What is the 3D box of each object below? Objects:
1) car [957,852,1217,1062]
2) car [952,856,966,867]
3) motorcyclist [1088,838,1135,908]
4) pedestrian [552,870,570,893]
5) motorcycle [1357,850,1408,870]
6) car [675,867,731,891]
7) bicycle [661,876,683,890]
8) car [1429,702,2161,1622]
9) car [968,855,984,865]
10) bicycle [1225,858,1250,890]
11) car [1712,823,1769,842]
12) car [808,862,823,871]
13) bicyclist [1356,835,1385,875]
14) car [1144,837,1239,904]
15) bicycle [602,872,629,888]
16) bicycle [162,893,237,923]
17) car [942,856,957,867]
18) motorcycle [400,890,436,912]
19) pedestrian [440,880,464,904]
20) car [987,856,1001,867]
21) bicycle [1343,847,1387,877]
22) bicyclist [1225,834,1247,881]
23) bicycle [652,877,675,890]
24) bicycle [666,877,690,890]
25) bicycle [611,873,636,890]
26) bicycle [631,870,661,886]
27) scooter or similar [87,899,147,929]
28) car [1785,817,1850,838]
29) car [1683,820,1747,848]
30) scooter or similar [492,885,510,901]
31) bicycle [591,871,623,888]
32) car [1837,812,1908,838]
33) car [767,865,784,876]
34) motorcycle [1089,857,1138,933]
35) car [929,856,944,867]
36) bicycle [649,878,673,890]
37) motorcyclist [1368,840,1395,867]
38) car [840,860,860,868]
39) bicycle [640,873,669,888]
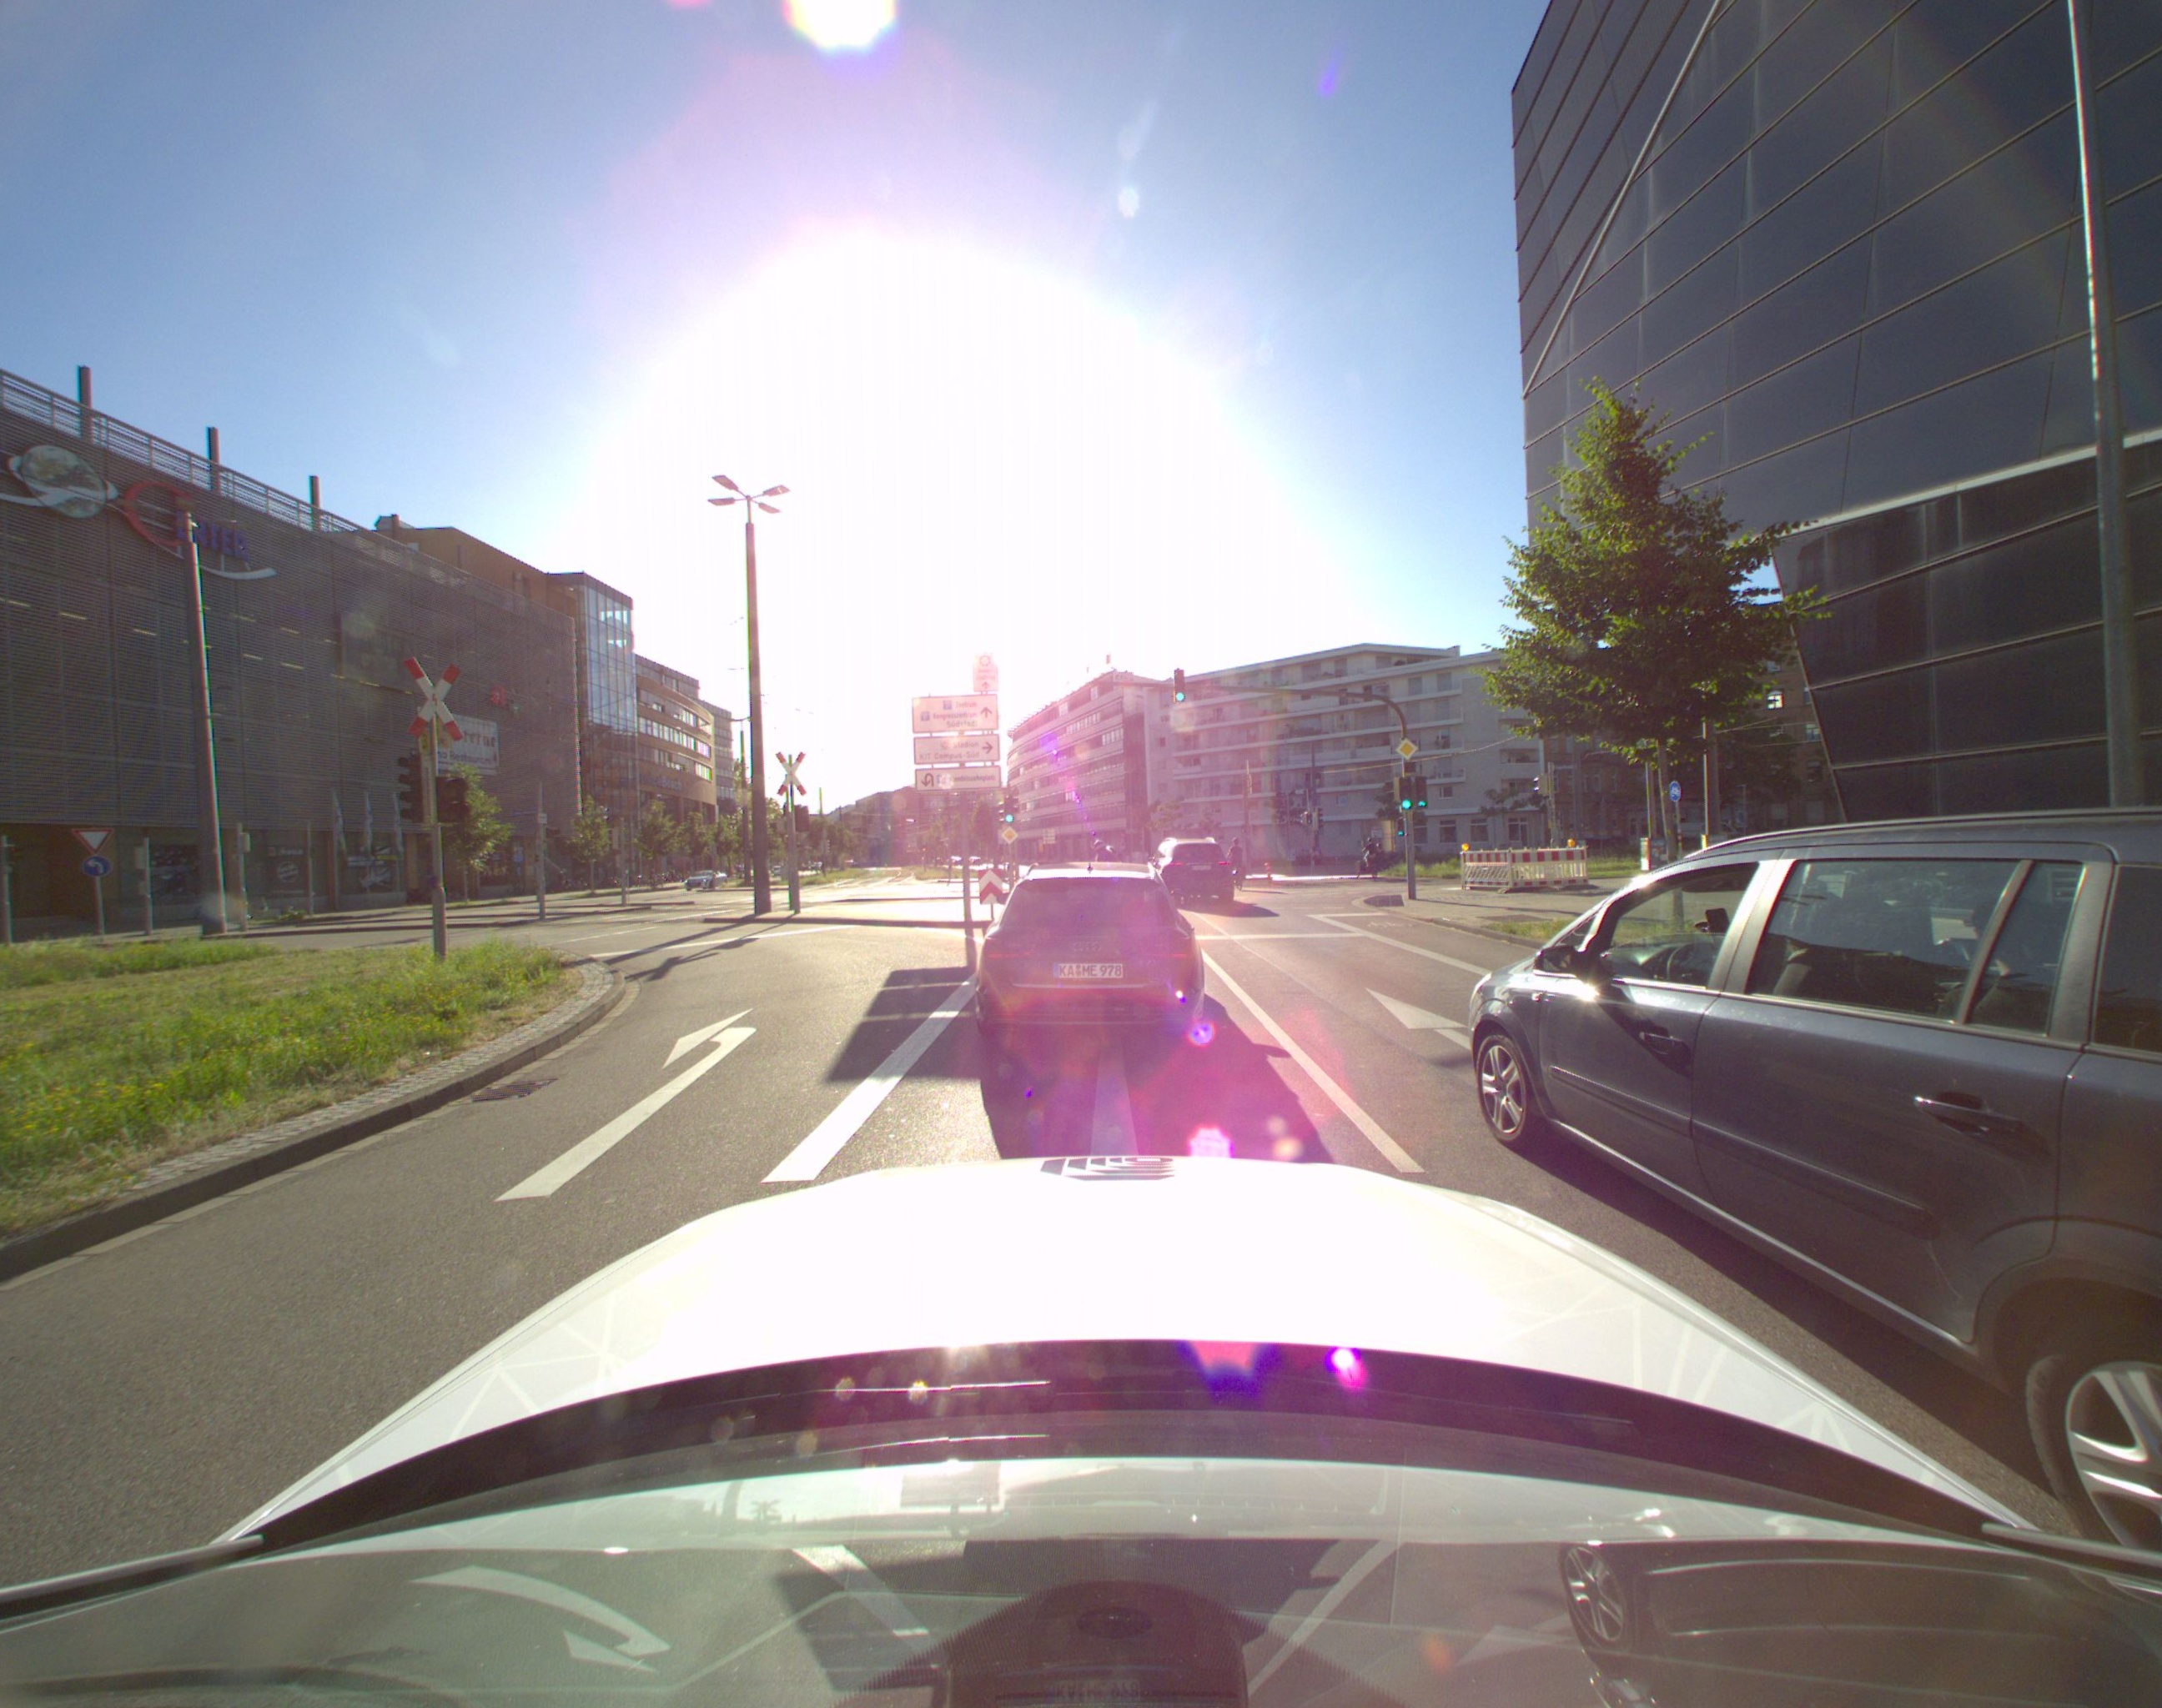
[{"bbox_3d":[0.090,0.730,7.803,1.835,1.454,4.001,0,0,1],"label":"car"},{"bbox_3d":[-20.968,1.311,139.459,1.996,1.596,3.981,-3,-1,-14],"label":"car"},{"bbox_3d":[0.597,0.376,16.100,0.860,1.326,0.681,-2,0,-1],"label":"motorcyclist"},{"bbox_3d":[-42.458,2.254,66.496,0.823,1.824,0.905,-3,-1,3],"label":"pedestrian"},{"bbox_3d":[17.106,0.339,46.246,2.452,1.000,1.168,-2,0,-9],"label":"motorcycle"},{"bbox_3d":[-27.914,1.844,60.297,1.987,1.545,4.528,-2,0,-1],"label":"car"},{"bbox_3d":[-47.531,3.360,94.630,2.125,1.433,0.761,-3,-1,10],"label":"bicycle"},{"bbox_3d":[2.915,0.569,2.830,1.739,1.696,4.263,0,0,2],"label":"car"},{"bbox_3d":[-17.605,1.044,136.842,1.999,1.596,3.976,-3,-1,-17],"label":"car"},{"bbox_3d":[5.686,0.707,29.633,0.651,1.043,1.932,-2,0,5],"label":"bicycle"},{"bbox_3d":[54.104,-1.732,66.900,1.981,1.354,4.012,-3,-1,11],"label":"car"},{"bbox_3d":[-50.592,2.338,155.297,1.993,1.640,4.398,-2,0,-9],"label":"car"},{"bbox_3d":[12.916,0.050,36.299,0.767,1.706,0.925,-2,0,-16],"label":"bicyclist"},{"bbox_3d":[3.044,0.417,23.343,1.997,1.715,4.369,0,0,-2],"label":"car"},{"bbox_3d":[-43.772,2.452,76.655,2.070,1.433,0.863,-3,-1,10],"label":"bicycle"},{"bbox_3d":[-41.908,2.549,38.762,0.796,1.220,2.418,-2,0,5],"label":"bicycle"},{"bbox_3d":[-23.494,1.311,145.197,1.998,1.706,3.977,-3,-1,-17],"label":"car"},{"bbox_3d":[-41.854,2.960,51.424,0.673,1.238,1.894,-3,-1,1],"label":"motorcycle"},{"bbox_3d":[-44.341,2.663,57.375,0.984,1.566,0.829,-3,-1,1],"label":"pedestrian"},{"bbox_3d":[-15.976,1.379,148.740,1.996,1.838,3.981,-3,-1,-14],"label":"car"},{"bbox_3d":[12.788,0.360,36.766,0.767,1.262,2.070,-2,0,-16],"label":"bicycle"},{"bbox_3d":[5.667,0.124,29.749,0.651,1.642,0.973,-2,0,5],"label":"bicyclist"},{"bbox_3d":[-47.478,3.350,92.589,2.231,1.433,0.720,-3,-1,10],"label":"bicycle"},{"bbox_3d":[-47.377,3.443,95.730,2.405,1.433,0.791,-3,-1,10],"label":"bicycle"},{"bbox_3d":[-43.689,2.621,77.761,1.965,1.433,0.809,-3,-1,10],"label":"bicycle"},{"bbox_3d":[-43.564,2.416,81.547,2.546,1.433,0.907,-3,-1,10],"label":"bicycle"},{"bbox_3d":[-43.788,2.722,37.008,0.790,1.207,1.575,-3,-1,2],"label":"scooter or similar"},{"bbox_3d":[58.421,-2.080,64.708,1.981,1.486,4.012,-3,-1,11],"label":"car"},{"bbox_3d":[58.552,-1.825,75.250,4.543,2.310,2.013,-2,0,37],"label":"car"},{"bbox_3d":[-43.026,2.908,60.400,0.419,1.110,1.153,-3,-1,2],"label":"scooter or similar"},{"bbox_3d":[-43.973,2.352,75.587,2.355,1.433,1.079,-3,-1,10],"label":"bicycle"},{"bbox_3d":[61.038,-2.187,62.902,1.981,1.772,4.012,-3,-1,11],"label":"car"},{"bbox_3d":[-41.563,2.236,110.841,1.902,1.407,3.969,-3,1,-23],"label":"car"},{"bbox_3d":[0.620,0.780,16.240,0.860,1.393,1.893,-2,0,0],"label":"motorcycle"},{"bbox_3d":[-25.646,1.387,144.517,1.998,1.706,3.977,-3,-1,-17],"label":"car"},{"bbox_3d":[-47.356,3.380,91.736,2.399,1.236,0.747,-3,-1,10],"label":"bicycle"},{"bbox_3d":[17.045,-0.009,46.244,0.924,1.481,1.168,-2,0,-8],"label":"motorcyclist"},{"bbox_3d":[-51.210,2.124,180.254,1.977,1.640,4.434,-2,0,20],"label":"car"},{"bbox_3d":[-43.890,2.739,83.801,2.546,1.433,0.907,-3,-1,10],"label":"bicycle"}]
